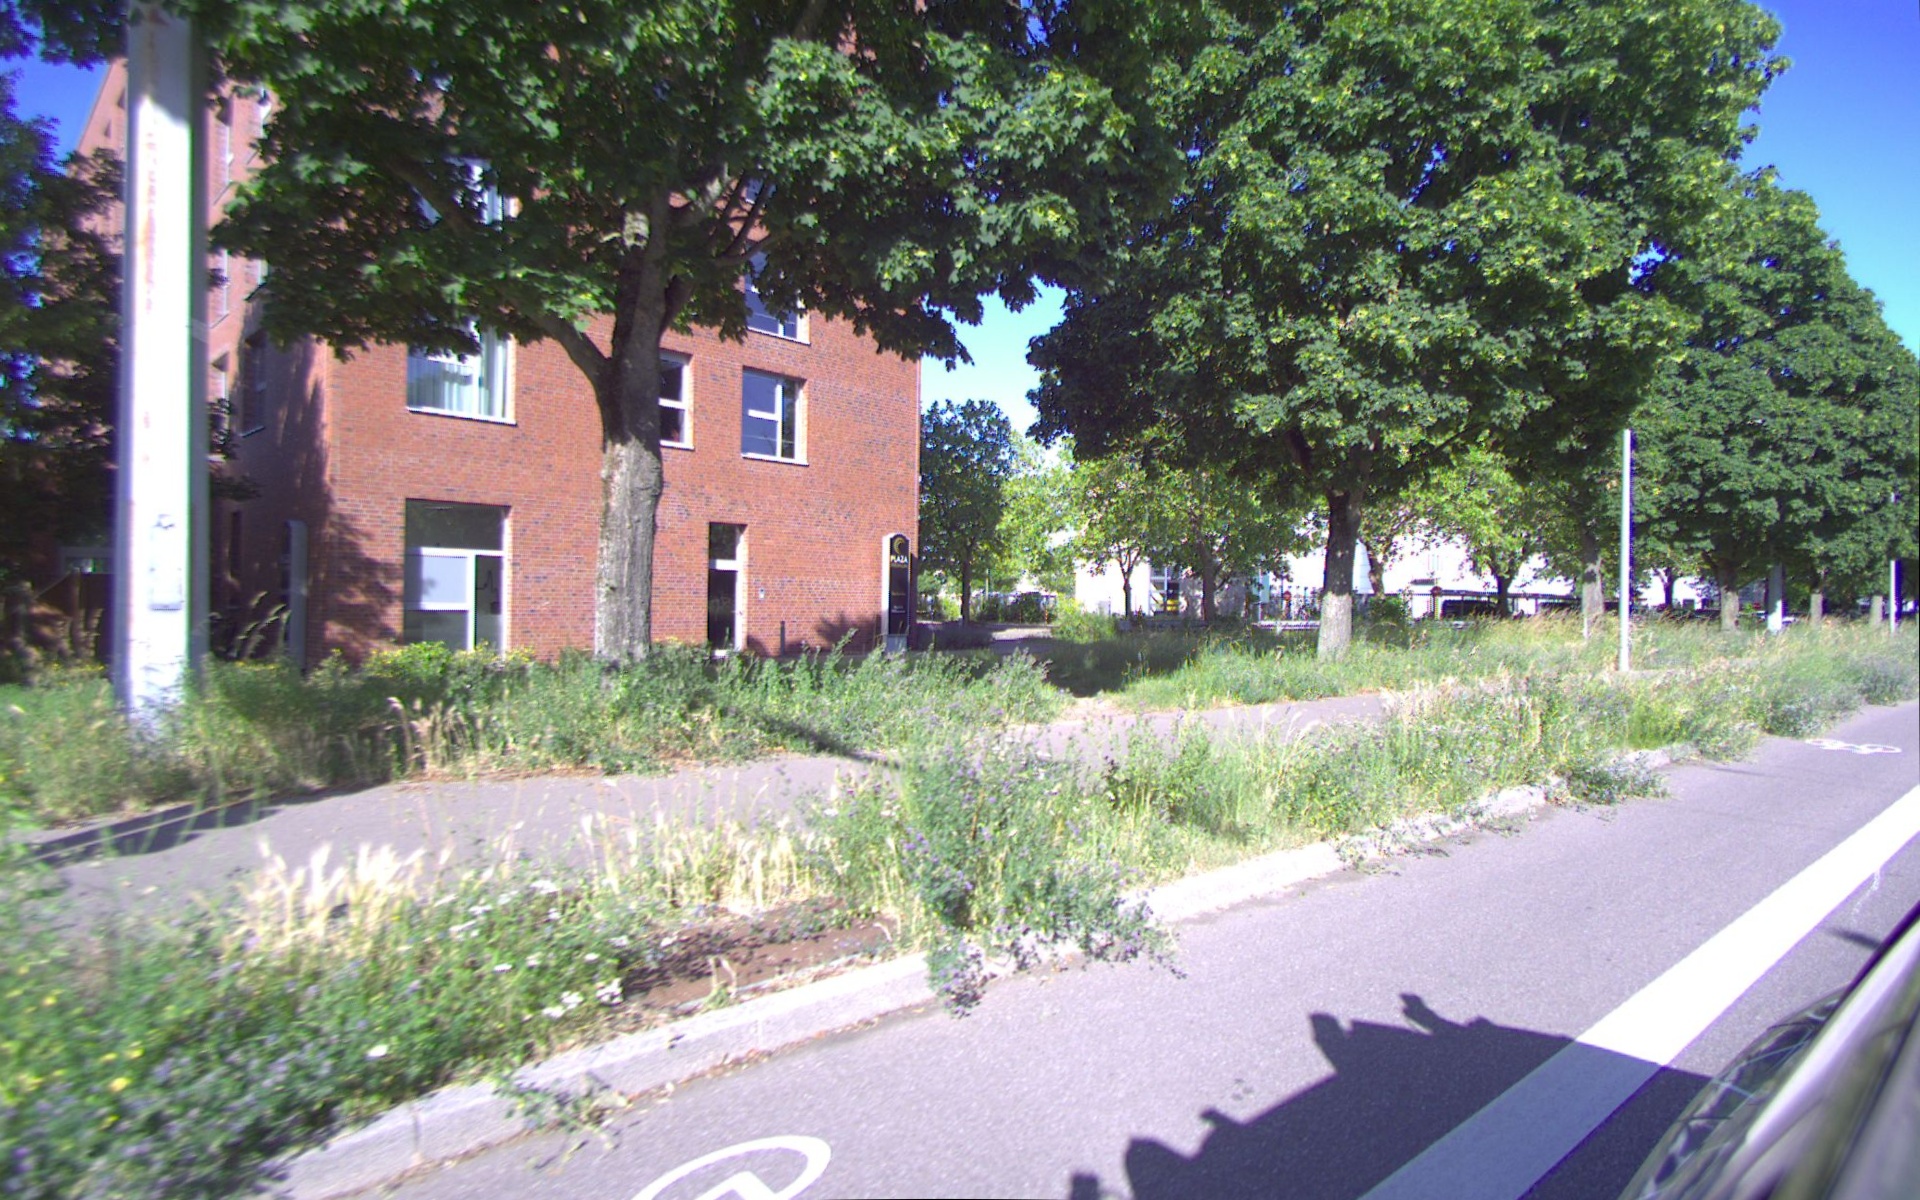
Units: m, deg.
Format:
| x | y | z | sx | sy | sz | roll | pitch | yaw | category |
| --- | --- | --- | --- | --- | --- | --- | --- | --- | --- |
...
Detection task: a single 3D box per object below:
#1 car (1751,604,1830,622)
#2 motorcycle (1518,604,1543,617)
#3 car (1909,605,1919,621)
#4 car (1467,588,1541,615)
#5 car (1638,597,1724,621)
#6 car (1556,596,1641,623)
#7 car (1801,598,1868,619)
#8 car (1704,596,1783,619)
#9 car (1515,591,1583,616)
| x | y | z | sx | sy | sz | roll | pitch | yaw | category |
| --- | --- | --- | --- | --- | --- | --- | --- | --- | --- |
| 67.363 | 1.044 | 82.148 | 1.774 | 1.287 | 4.709 | 2 | 0 | -39 | car |
| 45.530 | 0.814 | 80.752 | 0.528 | 0.983 | 1.653 | 1 | 0 | -37 | motorcycle |
| 113.483 | 1.517 | 117.595 | 2.045 | 1.900 | 5.173 | 0 | 0 | 9 | car |
| 41.540 | 0.099 | 77.340 | 1.920 | 2.039 | 4.601 | 1 | 0 | -35 | car |
| 46.071 | 0.562 | 64.743 | 1.789 | 1.450 | 4.180 | 0 | 0 | -33 | car |
| 38.407 | 0.536 | 60.950 | 1.705 | 1.524 | 4.042 | 1 | 0 | -36 | car |
| 77.676 | 0.726 | 89.922 | 4.336 | 1.721 | 1.738 | 2 | 1 | 44 | car |
| 58.506 | 0.550 | 75.656 | 1.850 | 1.617 | 4.401 | 1 | 0 | -40 | car |
| 51.526 | 0.286 | 88.636 | 1.937 | 1.974 | 4.763 | 1 | 0 | -37 | car |
